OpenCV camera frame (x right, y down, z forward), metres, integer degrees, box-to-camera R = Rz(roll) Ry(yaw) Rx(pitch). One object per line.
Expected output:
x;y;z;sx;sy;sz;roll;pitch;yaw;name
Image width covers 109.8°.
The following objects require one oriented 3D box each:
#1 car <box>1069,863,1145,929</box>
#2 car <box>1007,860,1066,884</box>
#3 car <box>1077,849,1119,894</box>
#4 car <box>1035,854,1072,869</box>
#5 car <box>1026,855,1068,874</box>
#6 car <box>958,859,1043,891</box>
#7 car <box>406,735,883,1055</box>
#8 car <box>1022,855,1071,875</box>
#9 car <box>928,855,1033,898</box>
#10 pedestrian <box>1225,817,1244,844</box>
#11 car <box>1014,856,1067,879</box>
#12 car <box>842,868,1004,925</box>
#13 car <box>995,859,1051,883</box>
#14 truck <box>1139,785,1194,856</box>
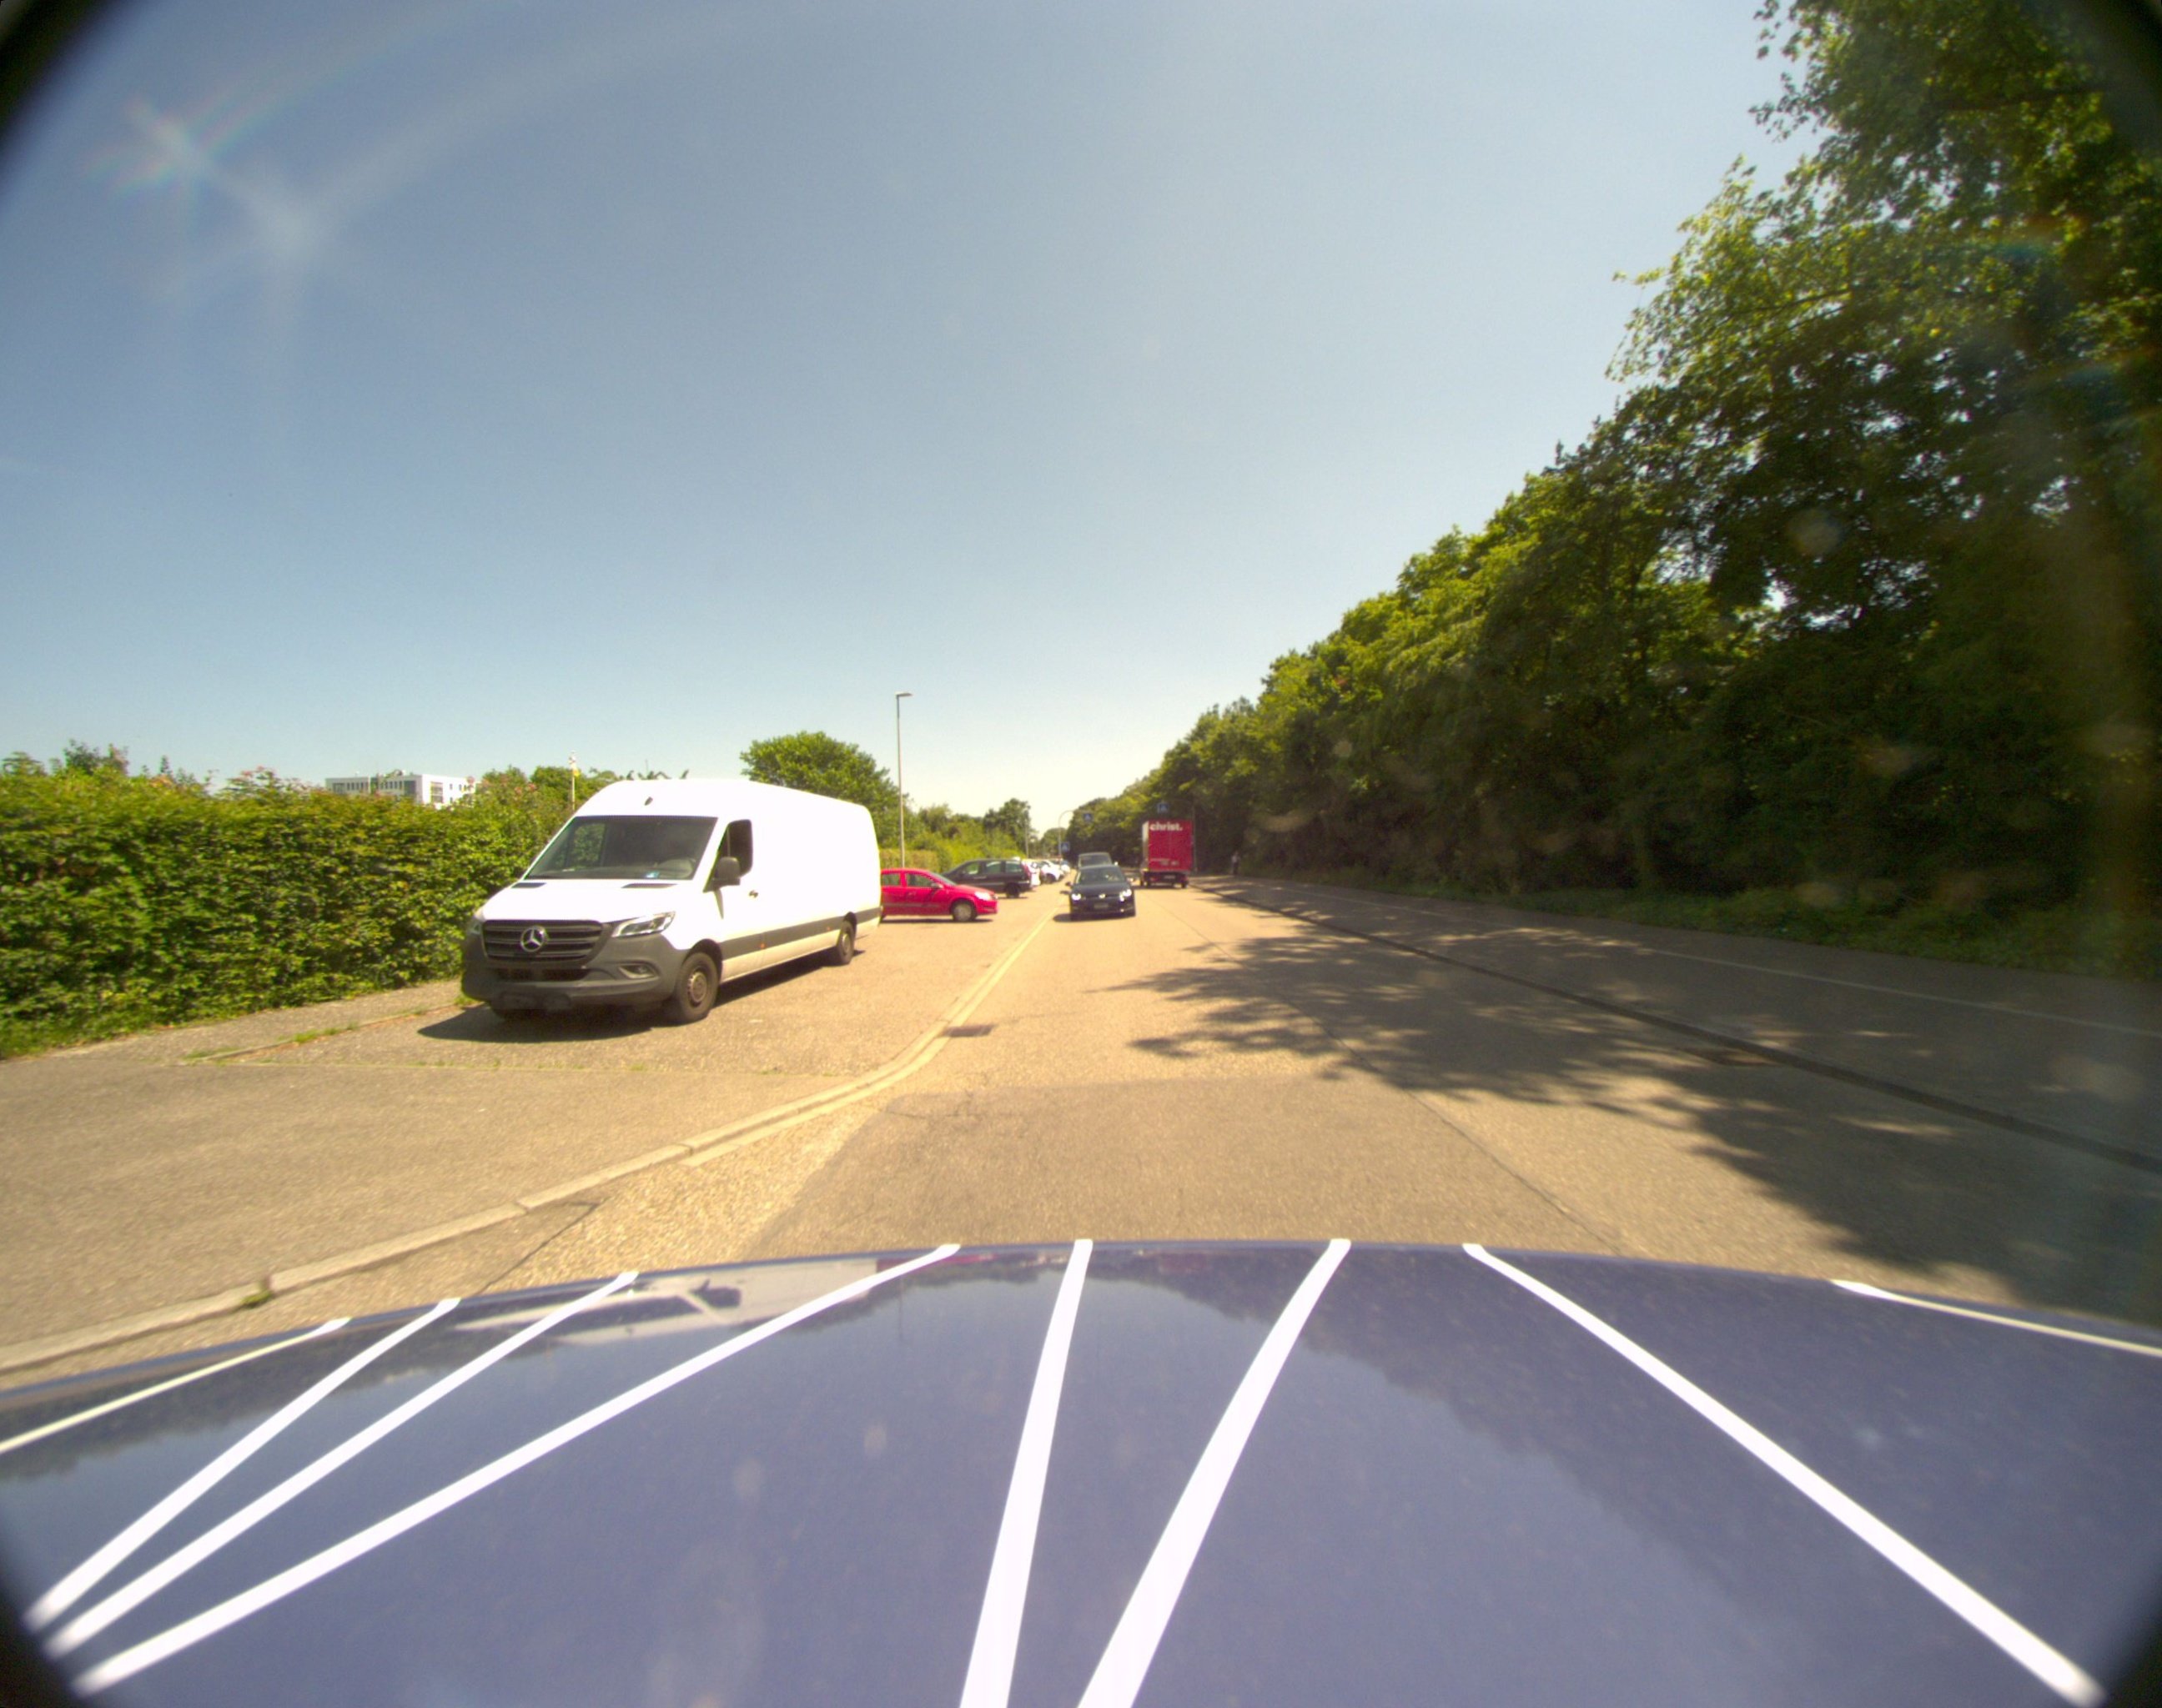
0.599;1.055;20.775;1.743;1.396;4.387;-4;1;-1;car
-3.093;1.209;52.253;3.974;1.514;1.863;1;1;-5;car
0.744;0.758;36.653;1.743;1.905;4.387;-4;1;-1;car
-3.008;0.849;83.866;4.036;1.632;1.673;0;1;0;car
-3.333;1.005;74.060;3.983;1.676;1.766;-1;1;0;car
-4.192;1.093;39.914;4.287;1.569;1.765;0;1;-1;car
-4.656;0.365;10.056;1.959;2.717;7.168;0;0;2;car
-3.203;1.011;71.192;4.464;1.720;1.850;-1;2;1;car
-4.363;0.957;33.723;4.465;1.795;1.951;0;2;-3;car
9.647;-1.463;47.669;0.934;1.603;0.885;-3;2;0;pedestrian
-3.067;1.045;58.206;3.971;1.631;1.663;1;1;-3;car
-4.217;1.117;20.800;4.064;1.426;1.835;0;1;-2;car
-3.751;1.111;49.367;3.395;1.495;1.588;-1;1;4;car
4.424;-1.753;40.465;2.328;3.421;7.159;-1;2;2;truck
